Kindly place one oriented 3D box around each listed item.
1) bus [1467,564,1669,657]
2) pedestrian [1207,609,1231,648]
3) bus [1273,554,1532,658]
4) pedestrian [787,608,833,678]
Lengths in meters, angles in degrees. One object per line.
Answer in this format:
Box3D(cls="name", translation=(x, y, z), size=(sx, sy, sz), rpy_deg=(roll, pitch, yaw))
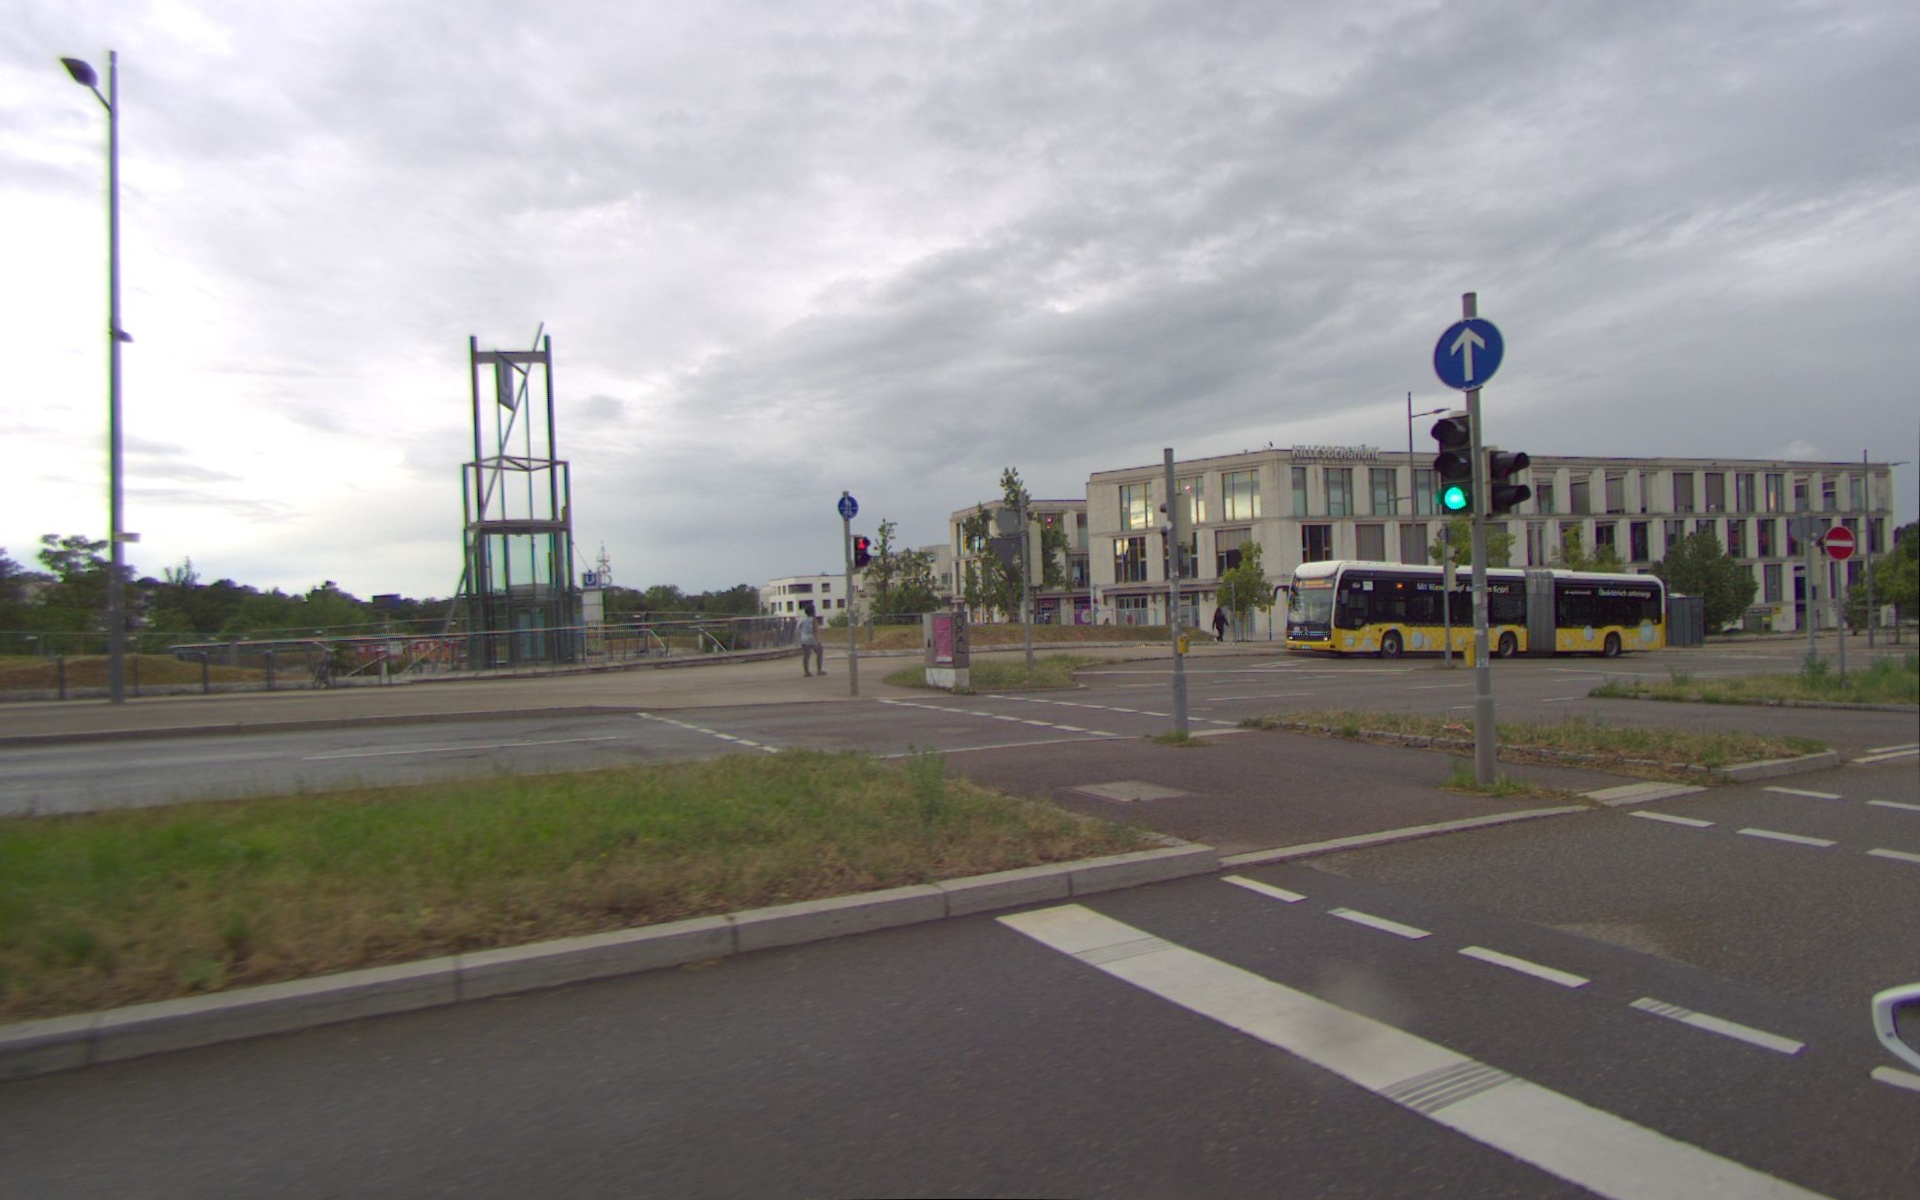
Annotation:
Box3D(cls="bus", translation=(24.744, 0.491, 40.836), size=(8.114, 3.518, 2.815), rpy_deg=(1, 0, -23))
Box3D(cls="pedestrian", translation=(11.311, 1.245, 43.842), size=(0.860, 1.718, 0.558), rpy_deg=(1, -1, -27))
Box3D(cls="bus", translation=(16.493, 0.303, 37.237), size=(9.832, 3.518, 2.815), rpy_deg=(1, 0, -23))
Box3D(cls="pedestrian", translation=(-3.575, 1.021, 23.903), size=(0.806, 1.615, 0.673), rpy_deg=(-2, 1, 21))
